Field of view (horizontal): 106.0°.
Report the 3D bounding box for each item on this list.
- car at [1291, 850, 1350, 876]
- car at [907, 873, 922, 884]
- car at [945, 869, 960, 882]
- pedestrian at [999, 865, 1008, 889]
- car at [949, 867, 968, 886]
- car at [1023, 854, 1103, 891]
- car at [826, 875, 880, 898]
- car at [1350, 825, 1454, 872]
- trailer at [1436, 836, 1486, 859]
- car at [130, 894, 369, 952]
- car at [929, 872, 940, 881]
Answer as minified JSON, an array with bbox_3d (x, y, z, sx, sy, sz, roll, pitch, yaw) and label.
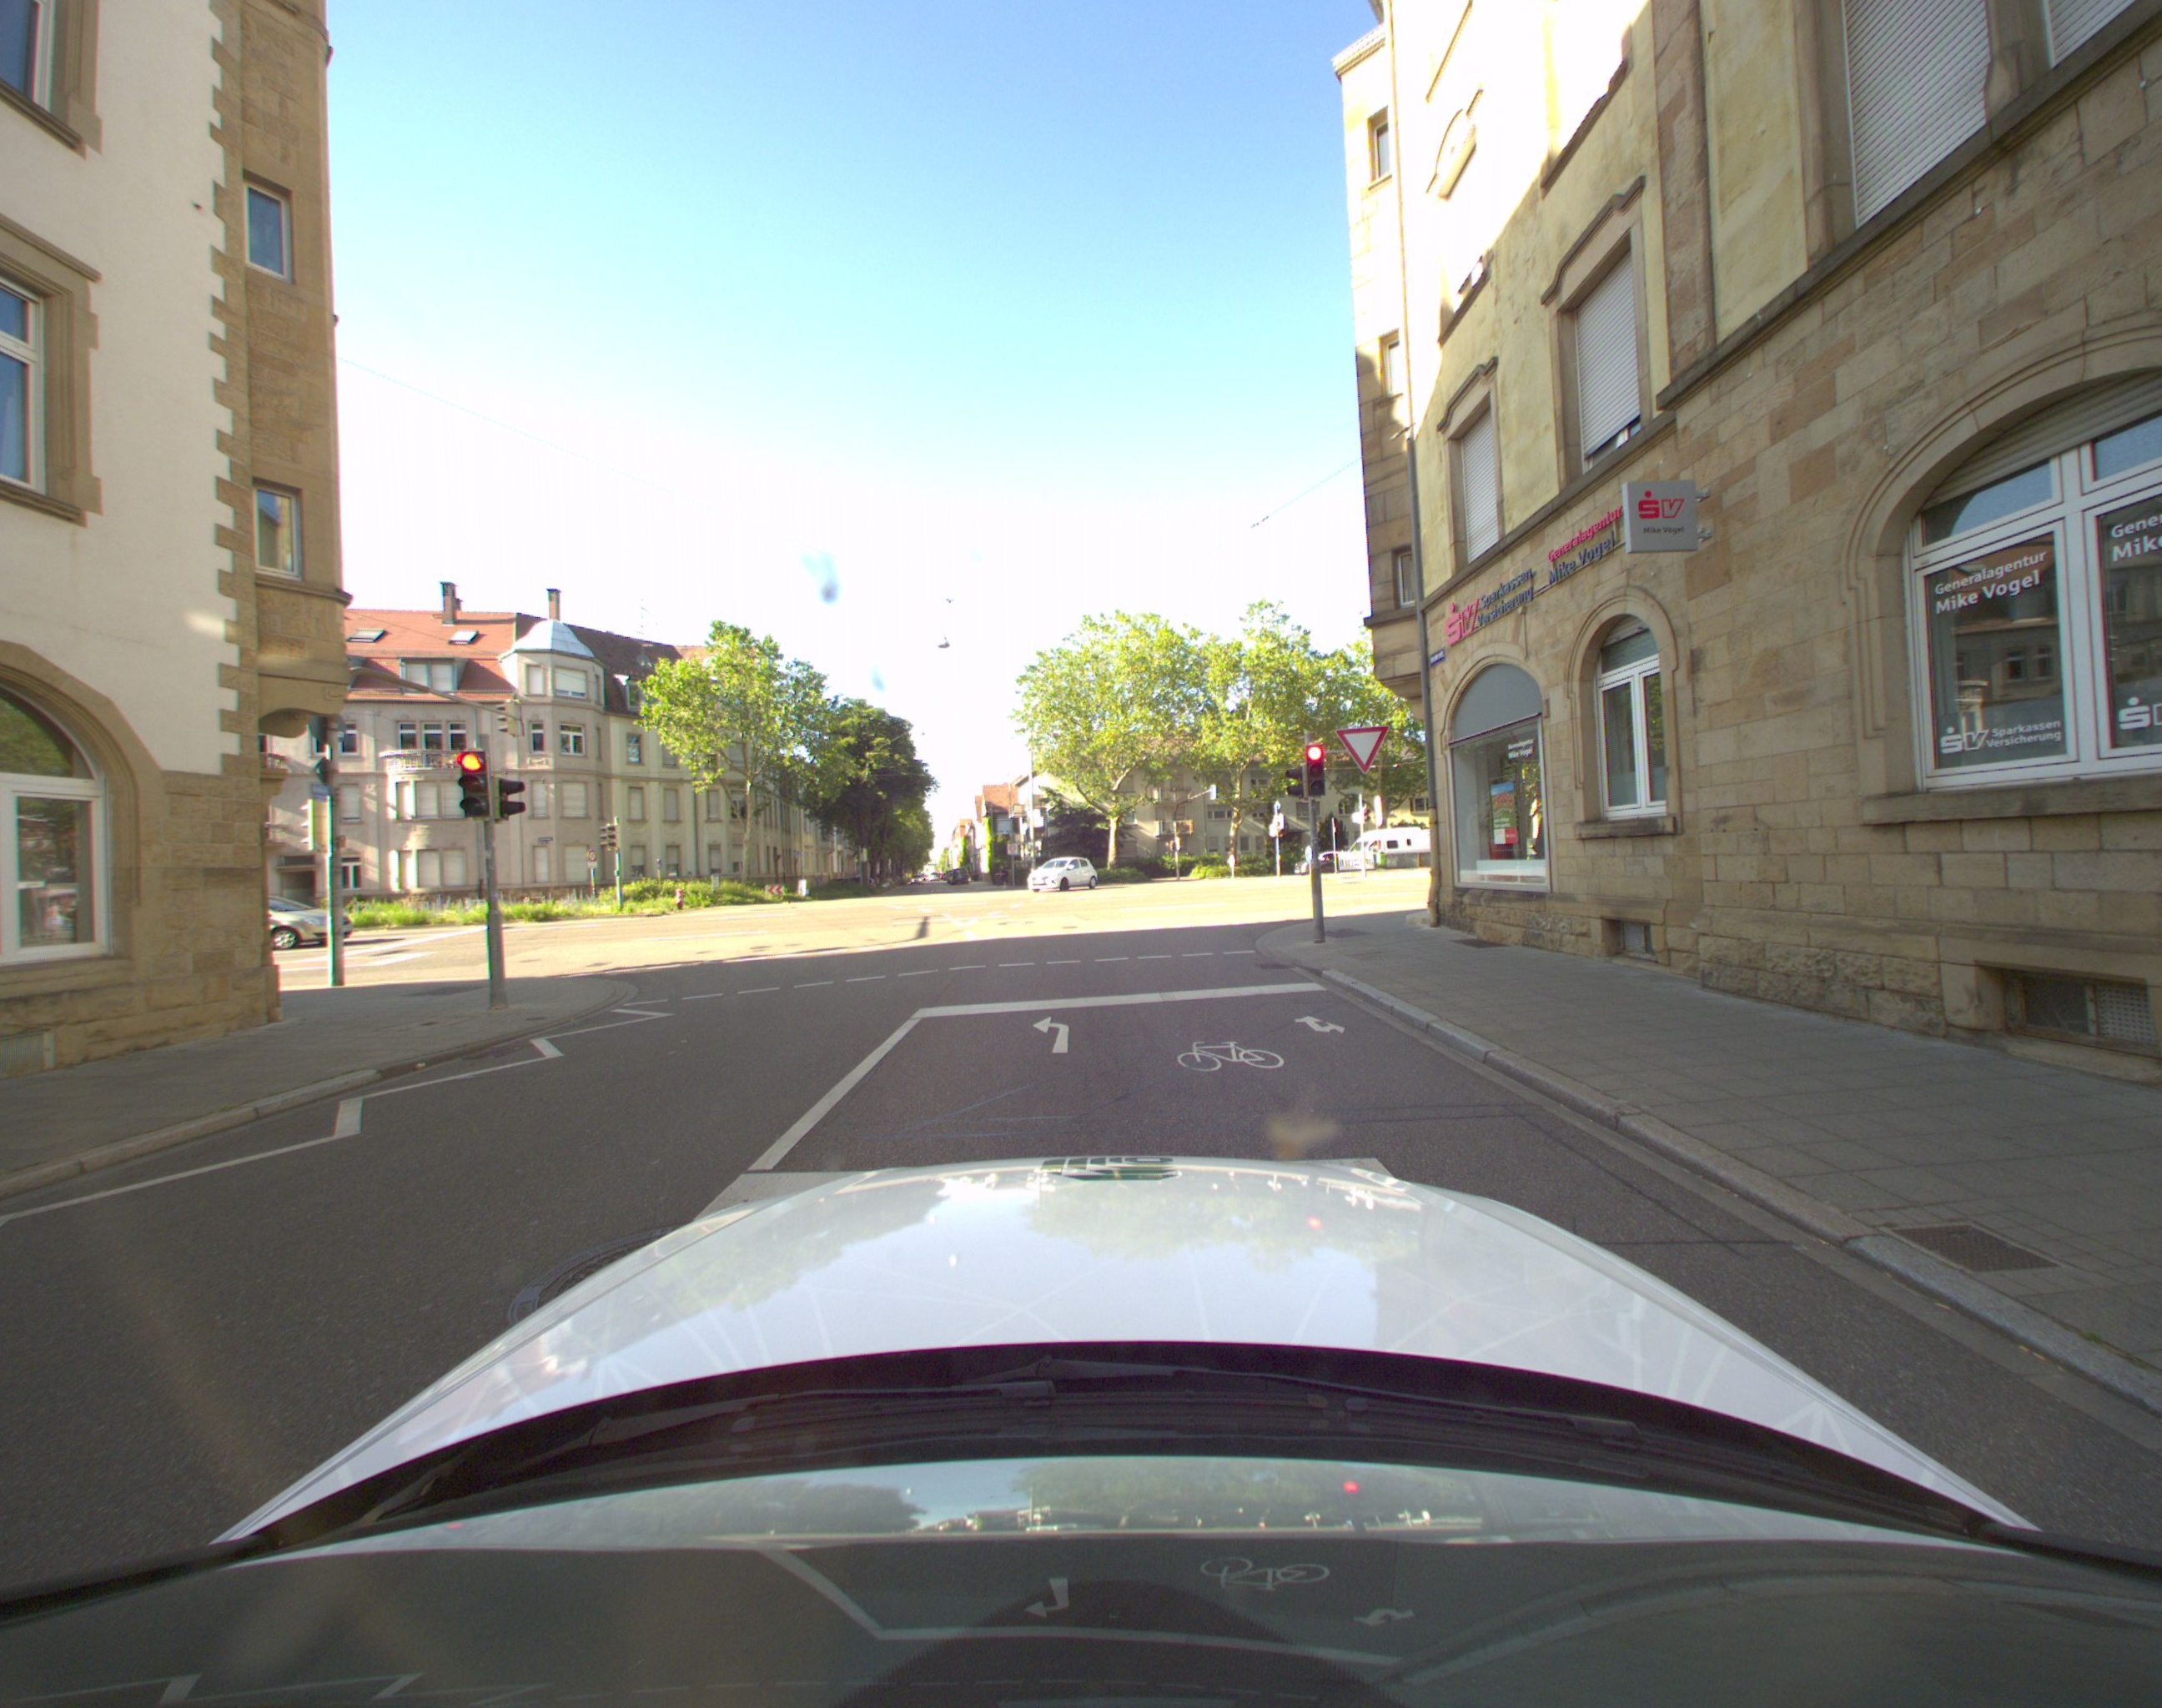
[{"bbox_3d":[15.545,0.575,52.893,3.391,1.487,1.515,-3,0,-20],"label":"car"},{"bbox_3d":[-23.315,3.426,114.132,1.995,1.445,3.983,-3,0,-12],"label":"car"},{"bbox_3d":[-19.863,3.318,125.967,1.996,1.833,3.980,-1,-1,-14],"label":"car"},{"bbox_3d":[-5.753,1.681,60.524,0.631,1.750,0.658,-2,-1,-2],"label":"pedestrian"},{"bbox_3d":[-14.248,2.565,95.146,1.992,2.013,3.989,-3,0,-8],"label":"car"},{"bbox_3d":[-0.760,0.814,36.880,1.608,1.472,3.824,-3,0,34],"label":"car"},{"bbox_3d":[-18.003,2.538,64.248,3.997,1.486,1.672,-3,0,-17],"label":"car"},{"bbox_3d":[20.065,-0.359,50.943,6.054,2.568,1.989,-3,0,-17],"label":"car"},{"bbox_3d":[24.340,-0.432,52.174,2.747,1.311,1.263,-3,0,-17],"label":"trailer"},{"bbox_3d":[-21.782,1.780,21.544,3.995,1.319,1.812,0,-1,-16],"label":"car"},{"bbox_3d":[-26.287,3.997,146.356,1.673,1.483,3.511,-2,-1,-8],"label":"car"}]
